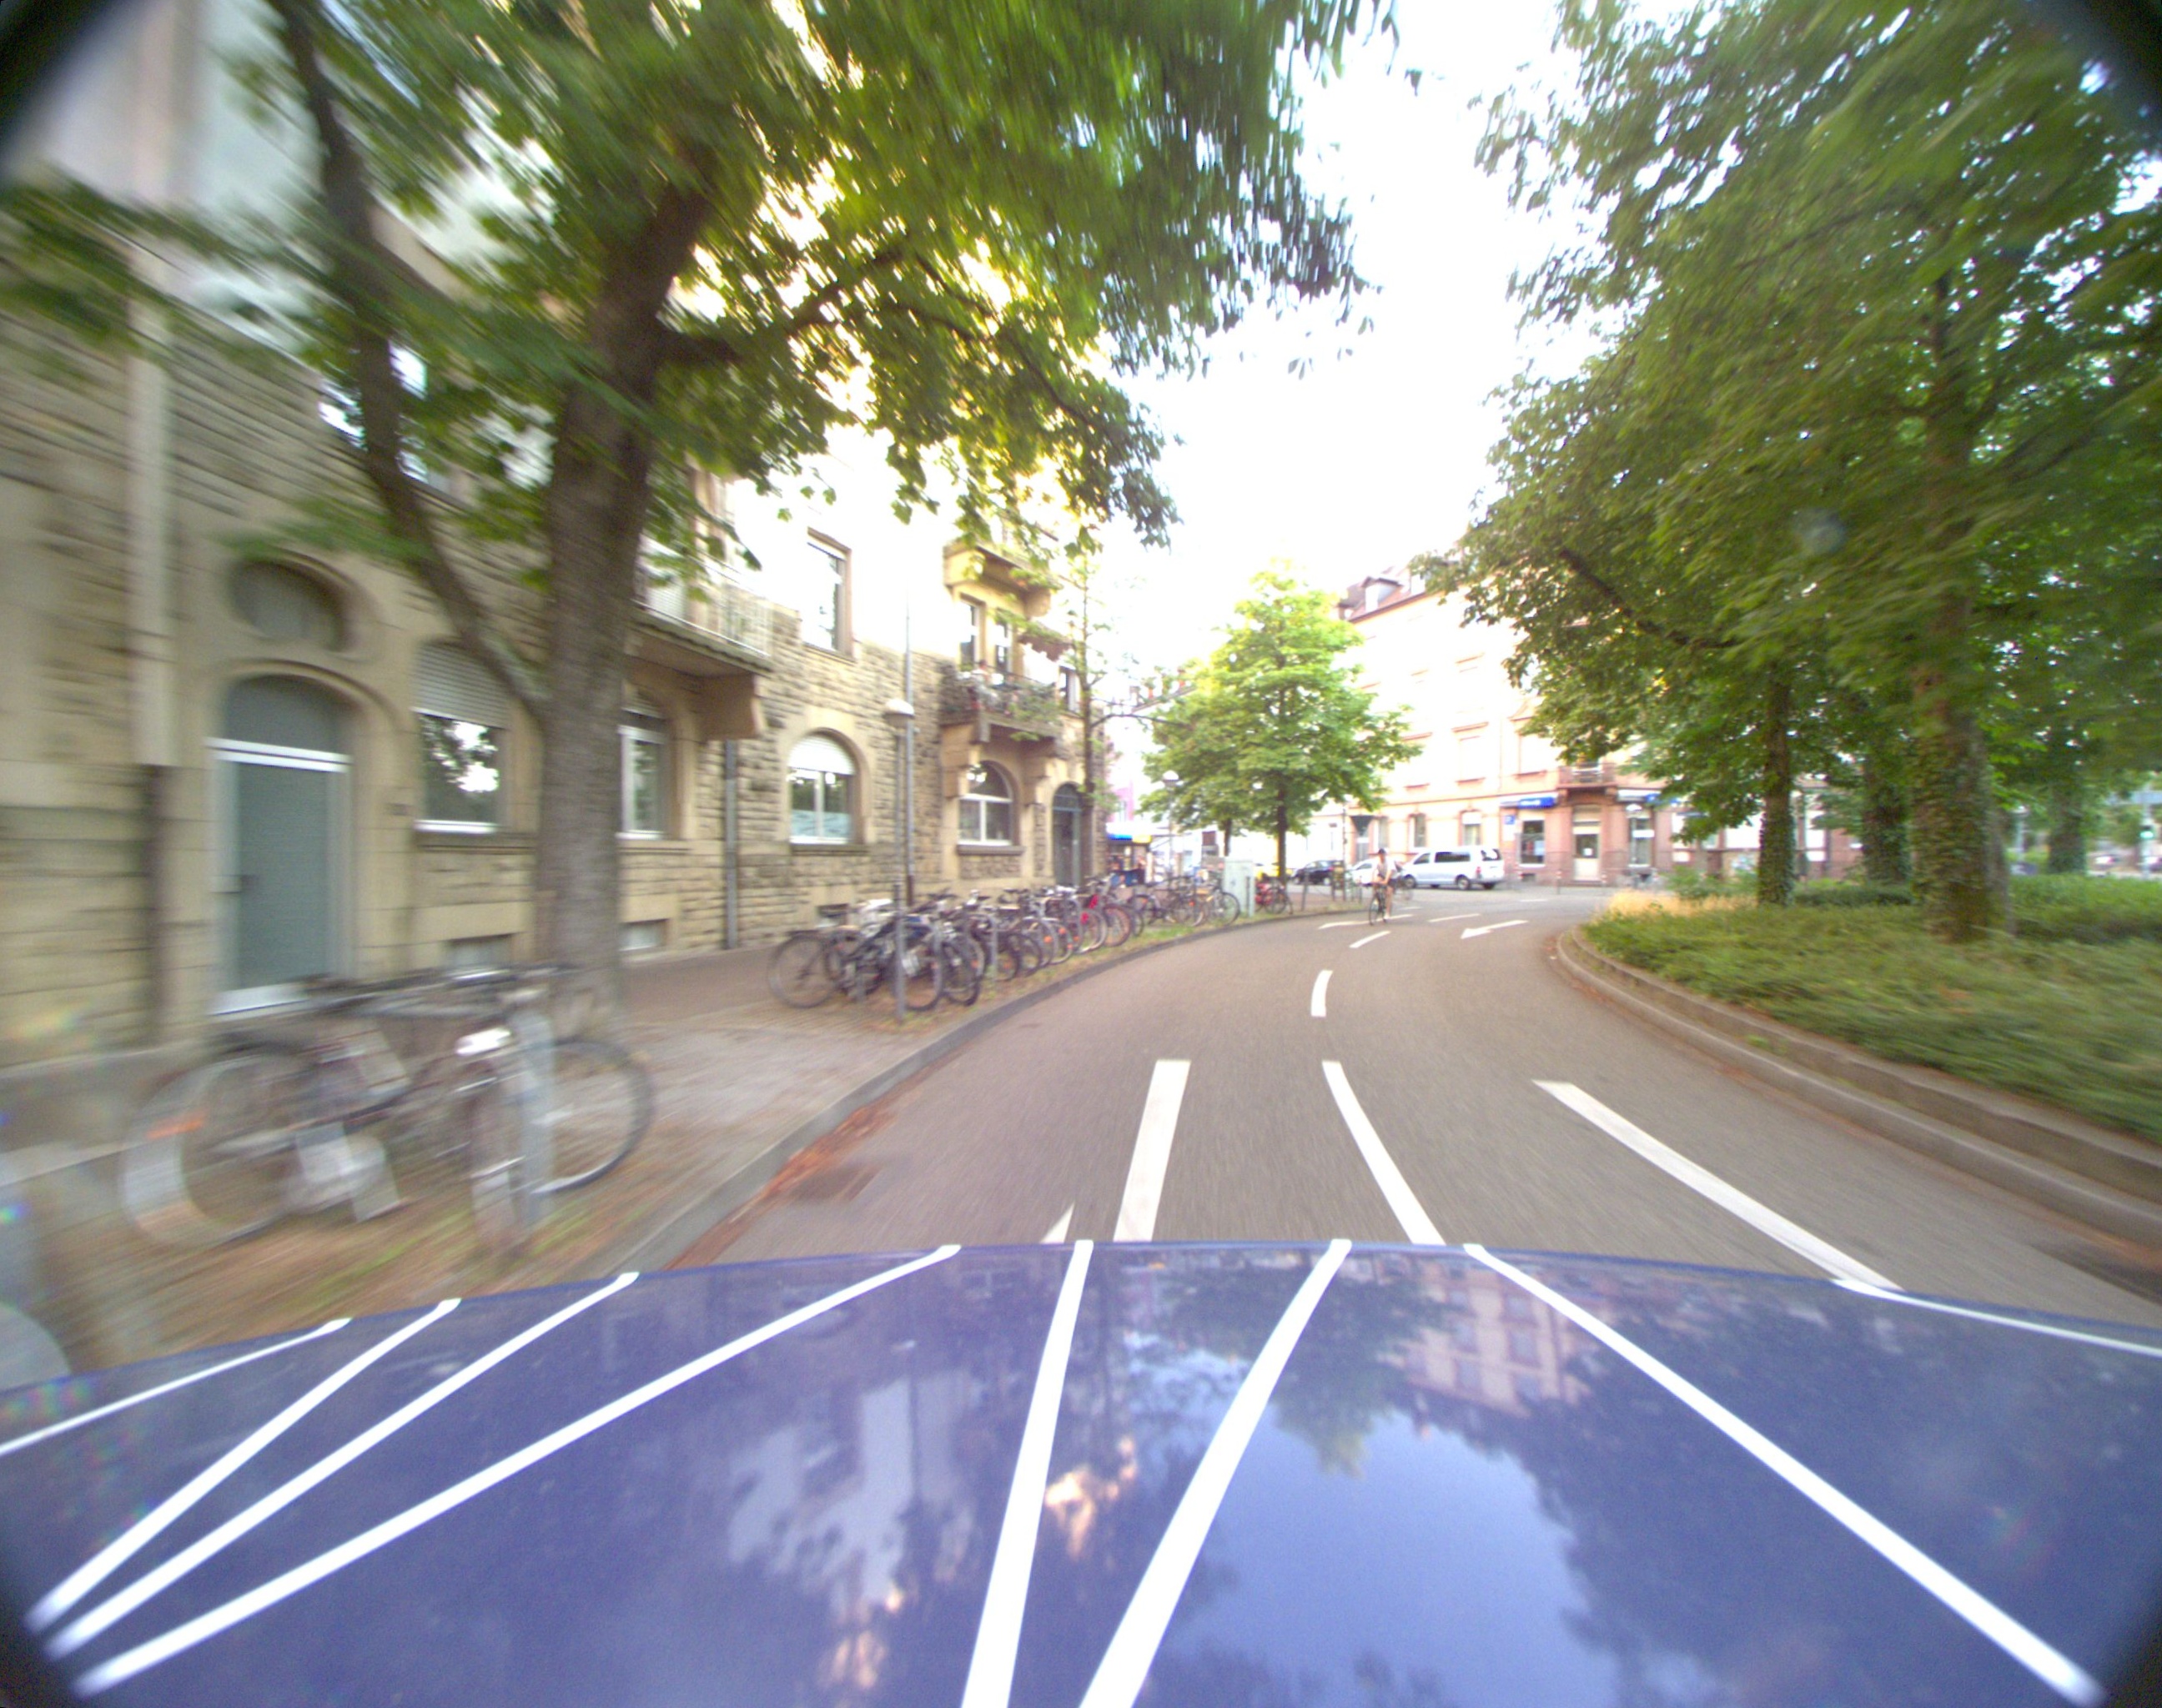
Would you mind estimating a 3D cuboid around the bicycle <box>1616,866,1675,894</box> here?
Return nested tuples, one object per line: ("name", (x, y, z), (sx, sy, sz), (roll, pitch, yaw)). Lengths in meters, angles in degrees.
("bicycle", (22.732, 1.020, 30.626), (0.561, 1.076, 1.793), (-2, 1, -38))

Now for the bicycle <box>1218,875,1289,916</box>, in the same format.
("bicycle", (4.575, 1.086, 20.292), (1.893, 1.033, 0.433), (0, 0, 44))

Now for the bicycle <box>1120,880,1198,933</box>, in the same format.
("bicycle", (1.640, 1.095, 16.129), (1.603, 1.069, 0.420), (0, 0, 27))

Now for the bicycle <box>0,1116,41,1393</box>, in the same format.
("bicycle", (-2.893, 1.046, 1.337), (1.672, 1.120, 0.487), (0, -6, 11))

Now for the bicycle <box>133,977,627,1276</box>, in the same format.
("bicycle", (-2.891, 1.098, 3.210), (1.674, 1.072, 0.486), (0, 0, 2))

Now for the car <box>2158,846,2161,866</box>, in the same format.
("car", (101.272, 0.189, 69.803), (1.904, 1.839, 4.009), (0, 0, 43))

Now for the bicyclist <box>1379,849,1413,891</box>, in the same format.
("bicyclist", (11.450, 0.566, 27.621), (0.687, 1.503, 0.971), (0, 0, -18))

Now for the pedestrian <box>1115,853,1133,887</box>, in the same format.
("pedestrian", (2.086, 0.763, 36.998), (0.589, 1.627, 0.680), (0, 0, 35))

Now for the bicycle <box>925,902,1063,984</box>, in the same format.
("bicycle", (-1.180, 1.165, 10.207), (1.851, 0.993, 0.419), (0, 0, 20))

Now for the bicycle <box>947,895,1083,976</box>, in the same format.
("bicycle", (-0.962, 1.141, 10.955), (1.916, 1.055, 0.536), (0, 0, 21))

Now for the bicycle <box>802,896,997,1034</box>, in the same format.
("bicycle", (-1.837, 1.078, 7.676), (1.881, 1.211, 0.492), (0, 6, 20))

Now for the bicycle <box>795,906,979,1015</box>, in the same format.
("bicycle", (-2.066, 1.133, 8.261), (1.854, 1.098, 0.573), (0, 0, -3))

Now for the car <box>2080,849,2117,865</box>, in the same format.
("car", (119.718, 0.303, 89.470), (1.904, 1.839, 4.009), (0, 0, 43))

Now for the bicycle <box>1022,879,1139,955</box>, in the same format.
("bicycle", (-0.013, 1.036, 12.894), (1.916, 1.193, 0.553), (0, 0, 21))

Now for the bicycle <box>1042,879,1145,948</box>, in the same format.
("bicycle", (0.213, 1.042, 13.597), (1.792, 1.161, 0.448), (0, 0, 24))

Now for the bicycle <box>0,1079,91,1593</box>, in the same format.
("bicycle", (-3.205, 1.079, 1.691), (1.673, 1.072, 0.486), (0, 0, 10))

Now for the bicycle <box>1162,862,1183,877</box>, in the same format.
("bicycle", (6.589, 1.092, 55.033), (0.686, 1.088, 1.805), (0, 0, -24))

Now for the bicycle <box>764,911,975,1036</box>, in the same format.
("bicycle", (-2.006, 1.128, 7.272), (1.883, 1.132, 0.492), (-1, -4, 7))

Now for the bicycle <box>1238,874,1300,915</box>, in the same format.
("bicycle", (5.029, 1.075, 20.374), (1.603, 1.033, 0.433), (0, 0, 44))

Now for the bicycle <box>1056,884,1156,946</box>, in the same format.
("bicycle", (0.446, 1.100, 13.939), (1.792, 1.057, 0.448), (0, 0, 24))

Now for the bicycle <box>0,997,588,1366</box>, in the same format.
("bicycle", (-2.731, 1.093, 2.687), (1.674, 1.072, 0.486), (0, 0, 2))

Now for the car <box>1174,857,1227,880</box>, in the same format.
("car", (8.588, 1.027, 54.990), (1.808, 1.583, 4.137), (-3, 0, -24))

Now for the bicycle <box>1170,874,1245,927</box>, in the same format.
("bicycle", (2.895, 1.042, 17.399), (1.603, 1.141, 0.556), (0, 0, 32))

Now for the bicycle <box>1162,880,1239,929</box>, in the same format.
("bicycle", (2.665, 1.114, 17.021), (1.603, 1.014, 0.556), (0, 0, 32))

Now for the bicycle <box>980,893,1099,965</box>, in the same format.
("bicycle", (-0.654, 1.137, 11.770), (1.851, 1.008, 0.419), (0, 0, 24))

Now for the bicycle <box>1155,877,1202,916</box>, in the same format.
("bicycle", (2.585, 1.099, 20.021), (0.431, 0.963, 1.730), (0, 0, 37))

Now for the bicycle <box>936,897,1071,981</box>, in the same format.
("bicycle", (-1.085, 1.148, 10.483), (1.851, 1.045, 0.419), (0, 0, 20))

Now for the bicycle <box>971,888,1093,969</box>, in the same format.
("bicycle", (-0.750, 1.095, 11.456), (1.851, 1.110, 0.419), (0, 0, 24))

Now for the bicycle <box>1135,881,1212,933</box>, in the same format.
("bicycle", (1.983, 1.119, 16.378), (1.603, 1.057, 0.420), (0, 0, 27))

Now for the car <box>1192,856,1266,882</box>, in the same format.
("car", (9.005, 0.892, 46.728), (2.003, 1.508, 4.831), (0, 0, -26))

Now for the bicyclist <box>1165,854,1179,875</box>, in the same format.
("bicyclist", (6.594, 0.757, 55.006), (0.679, 1.536, 0.873), (0, 0, -25))

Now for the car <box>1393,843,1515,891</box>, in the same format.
("car", (17.540, 0.586, 36.060), (2.050, 2.045, 4.995), (-2, 1, -25))

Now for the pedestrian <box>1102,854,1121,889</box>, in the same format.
("pedestrian", (1.415, 0.825, 35.577), (0.679, 1.627, 0.589), (0, 0, -26))

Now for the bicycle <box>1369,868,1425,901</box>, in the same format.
("bicycle", (11.448, 1.088, 27.624), (0.687, 1.144, 2.112), (0, 0, -17))

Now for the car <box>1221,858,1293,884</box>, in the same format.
("car", (11.310, 1.075, 49.156), (1.847, 1.517, 4.791), (-3, 0, -27))

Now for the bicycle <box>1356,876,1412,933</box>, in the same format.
("bicycle", (6.778, 1.095, 16.942), (0.684, 1.144, 2.119), (0, 0, 35))

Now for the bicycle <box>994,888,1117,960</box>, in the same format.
("bicycle", (-0.425, 1.098, 12.272), (1.916, 1.058, 0.553), (0, 0, 21))

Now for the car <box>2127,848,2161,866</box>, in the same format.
("car", (107.693, 0.281, 76.559), (1.904, 1.839, 4.009), (0, 0, 43))

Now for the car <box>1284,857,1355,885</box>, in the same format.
("car", (13.783, 0.957, 44.099), (1.737, 1.483, 3.734), (-2, 1, -29))

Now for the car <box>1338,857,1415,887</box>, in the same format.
("car", (15.740, 0.921, 40.664), (1.691, 1.483, 3.606), (-2, 1, -26))

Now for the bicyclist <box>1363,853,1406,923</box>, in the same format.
("bicyclist", (6.757, 0.732, 16.920), (0.684, 1.503, 0.975), (0, 0, 35))

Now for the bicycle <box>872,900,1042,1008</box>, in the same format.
("bicycle", (-1.470, 1.162, 9.031), (1.851, 1.126, 0.418), (0, 19, 20))

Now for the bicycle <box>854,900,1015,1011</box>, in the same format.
("bicycle", (-1.686, 1.119, 8.680), (1.851, 1.138, 0.419), (0, 0, 20))

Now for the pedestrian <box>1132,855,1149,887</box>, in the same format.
("pedestrian", (2.921, 0.821, 37.260), (0.589, 1.530, 0.680), (0, 0, 35))

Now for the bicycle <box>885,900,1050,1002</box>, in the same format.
("bicycle", (-1.385, 1.165, 9.295), (1.851, 1.088, 0.418), (0, 19, 20))
